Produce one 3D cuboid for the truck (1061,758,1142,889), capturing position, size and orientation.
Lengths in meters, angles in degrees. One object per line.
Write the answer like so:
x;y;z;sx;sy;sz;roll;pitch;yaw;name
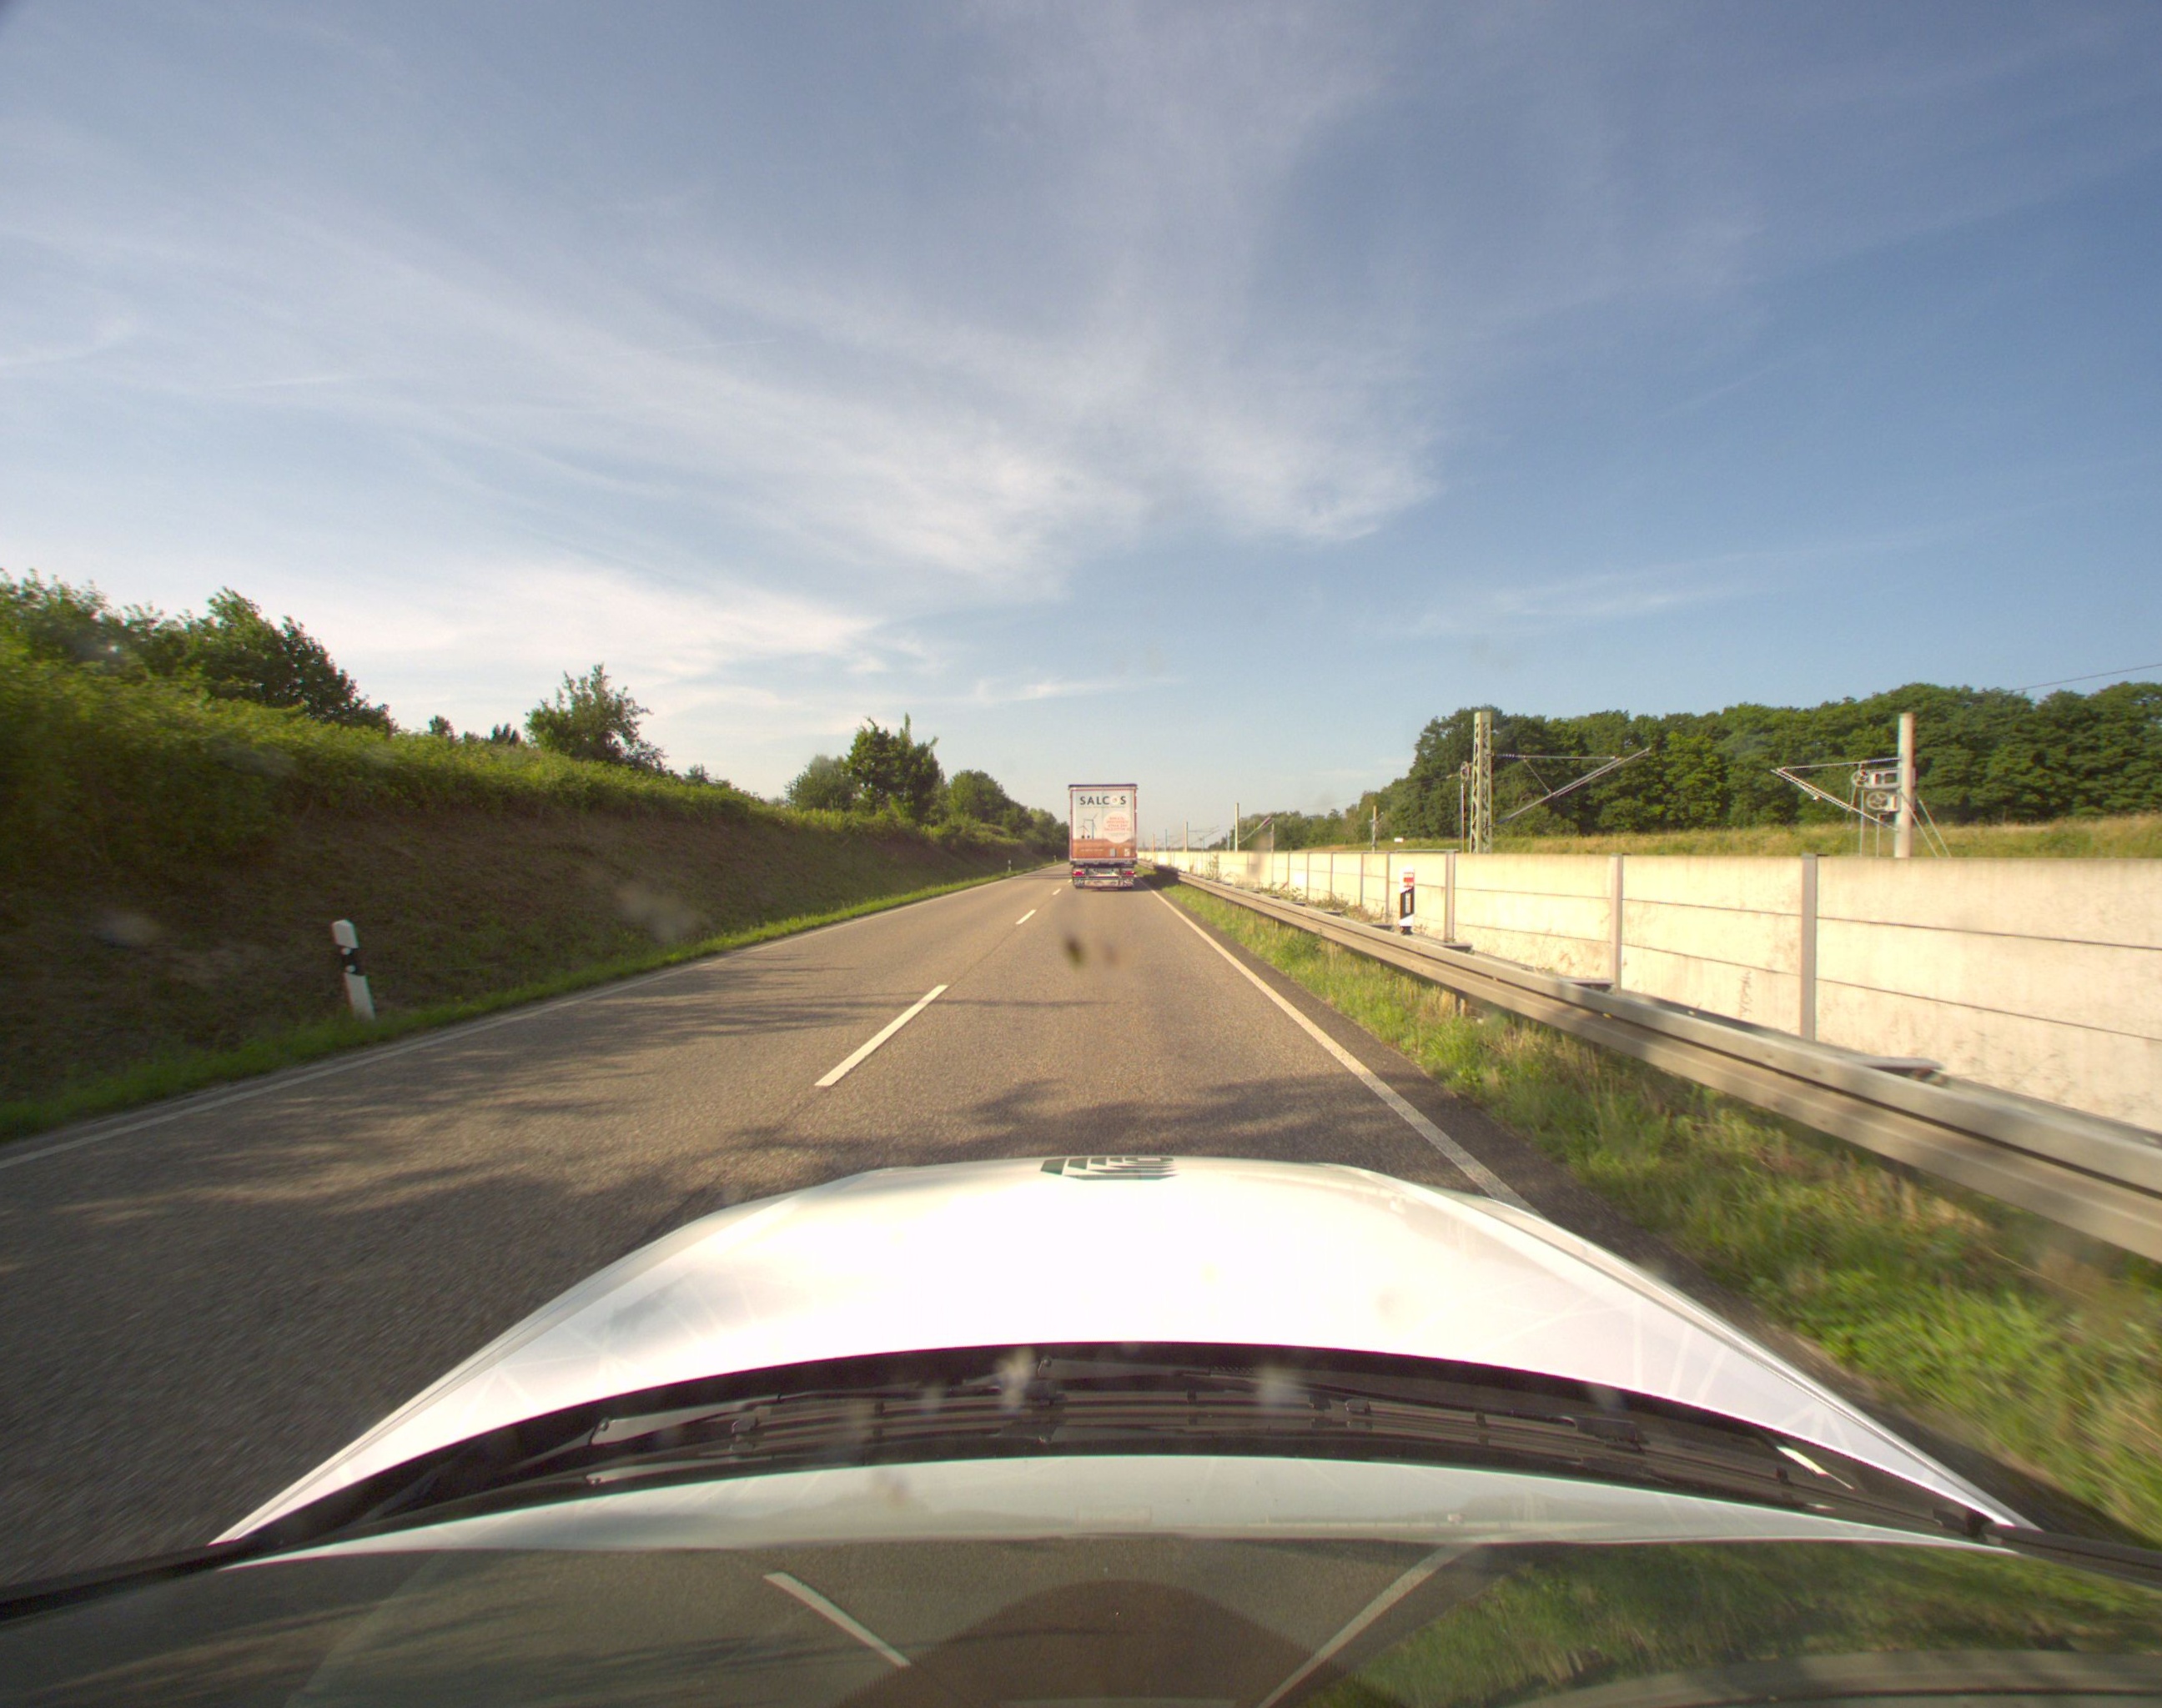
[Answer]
0.869;-1.185;36.591;3.022;4.920;11.685;0;0;1;truck
